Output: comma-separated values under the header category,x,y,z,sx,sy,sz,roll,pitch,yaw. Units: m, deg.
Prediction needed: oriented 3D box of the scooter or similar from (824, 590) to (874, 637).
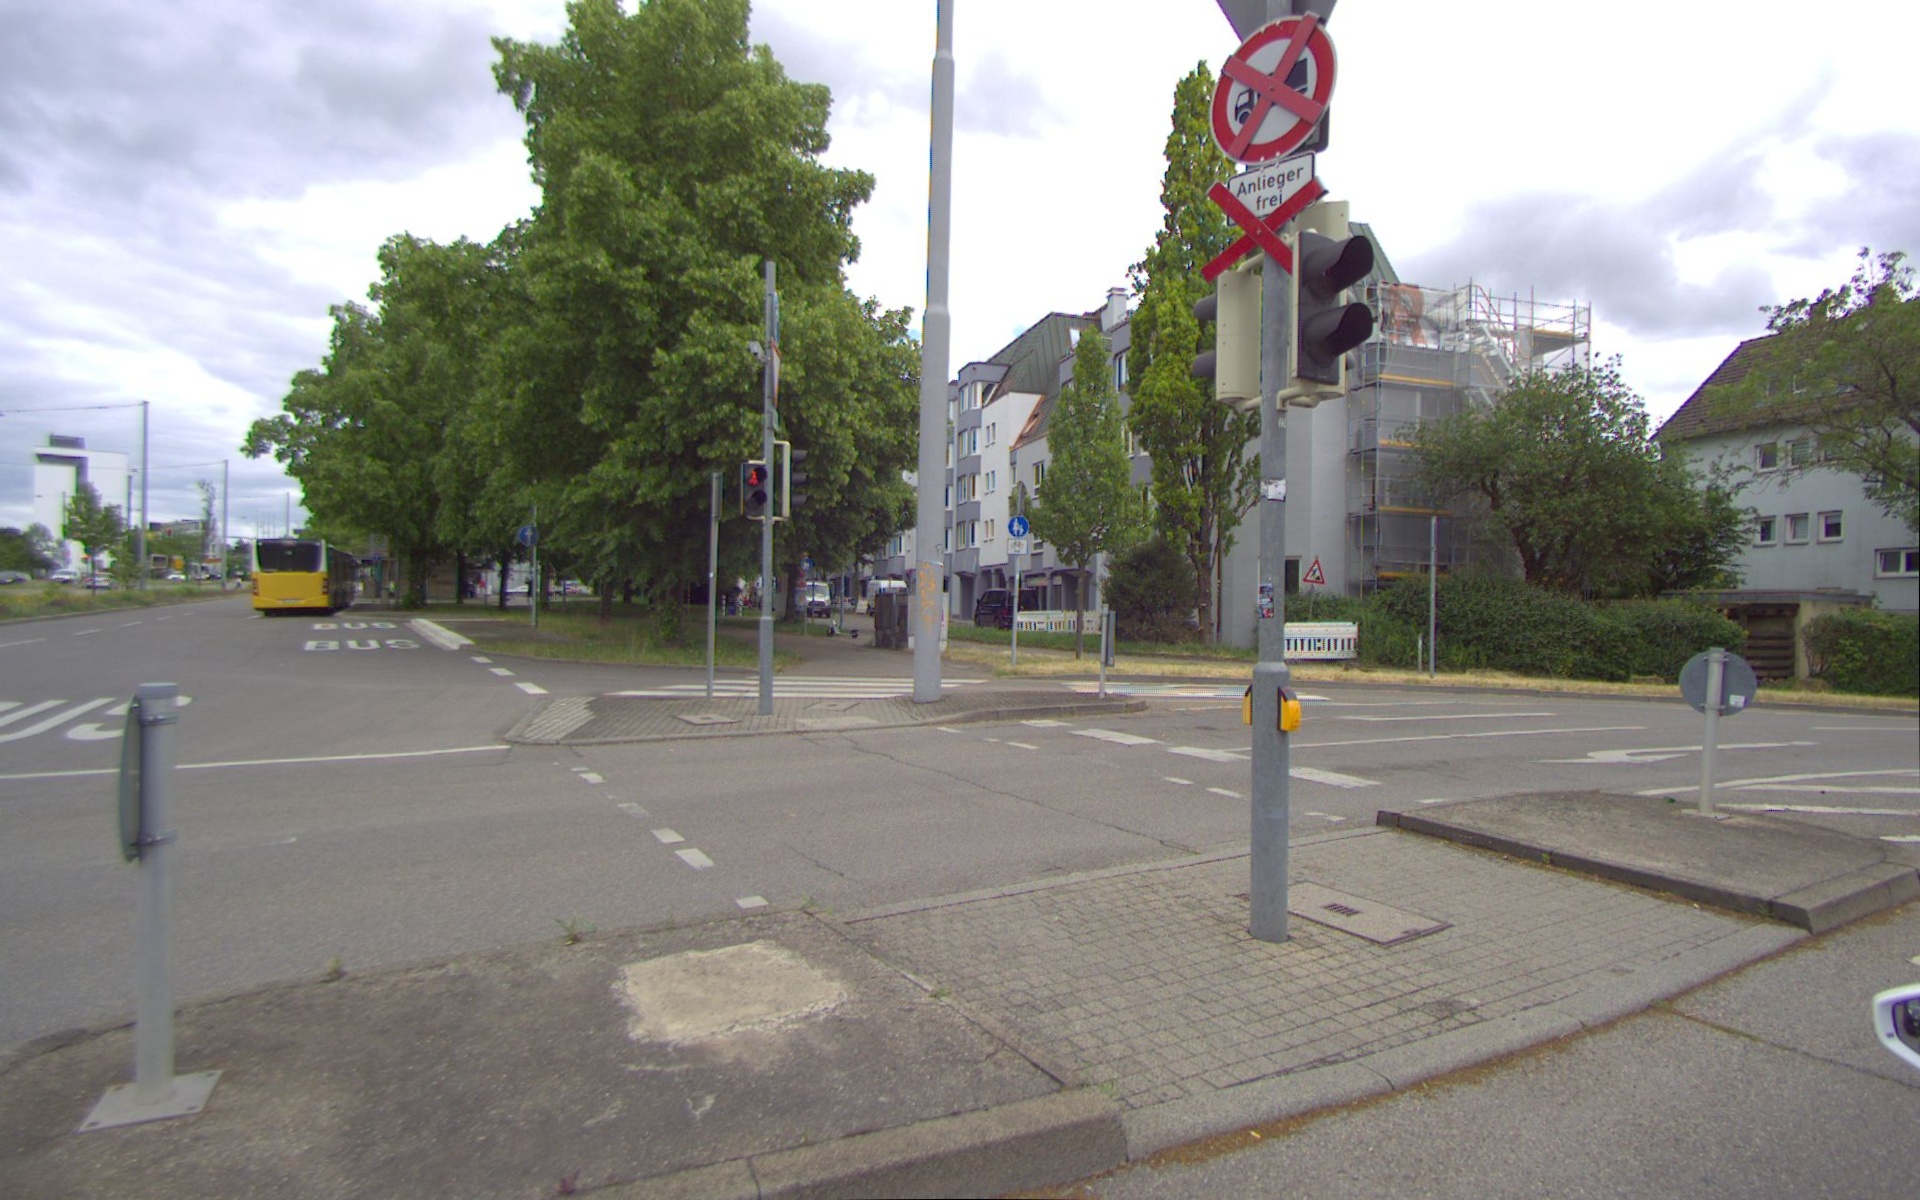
category,x,y,z,sx,sy,sz,roll,pitch,yaw
scooter or similar,-3.677,0.435,33.245,1.563,1.465,0.555,2,2,27

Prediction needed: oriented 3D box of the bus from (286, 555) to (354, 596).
category,x,y,z,sx,sy,sz,roll,pitch,yaw
bus,-50.427,-1.935,79.412,3.252,3.049,10.165,1,1,-25

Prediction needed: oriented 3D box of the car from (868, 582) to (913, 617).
category,x,y,z,sx,sy,sz,roll,pitch,yaw
car,-4.945,-0.072,70.463,2.278,2.284,5.478,1,1,-13

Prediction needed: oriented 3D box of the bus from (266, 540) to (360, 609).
category,x,y,z,sx,sy,sz,roll,pitch,yaw
bus,-31.678,-1.235,49.562,3.015,3.049,9.626,1,1,-28

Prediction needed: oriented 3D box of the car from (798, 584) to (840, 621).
category,x,y,z,sx,sy,sz,roll,pitch,yaw
car,-8.933,0.095,63.282,2.182,2.145,5.292,1,1,-13

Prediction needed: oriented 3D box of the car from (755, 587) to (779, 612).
category,x,y,z,sx,sy,sz,roll,pitch,yaw
car,-16.602,-0.046,86.602,1.964,1.965,4.583,1,1,-10

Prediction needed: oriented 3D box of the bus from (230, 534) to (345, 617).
category,x,y,z,sx,sy,sz,roll,pitch,yaw
bus,-27.484,-1.003,41.435,3.015,3.049,8.368,1,1,-28

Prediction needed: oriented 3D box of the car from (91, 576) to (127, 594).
category,x,y,z,sx,sy,sz,roll,pitch,yaw
car,-80.982,-1.429,95.637,1.727,1.549,3.723,1,2,-27
